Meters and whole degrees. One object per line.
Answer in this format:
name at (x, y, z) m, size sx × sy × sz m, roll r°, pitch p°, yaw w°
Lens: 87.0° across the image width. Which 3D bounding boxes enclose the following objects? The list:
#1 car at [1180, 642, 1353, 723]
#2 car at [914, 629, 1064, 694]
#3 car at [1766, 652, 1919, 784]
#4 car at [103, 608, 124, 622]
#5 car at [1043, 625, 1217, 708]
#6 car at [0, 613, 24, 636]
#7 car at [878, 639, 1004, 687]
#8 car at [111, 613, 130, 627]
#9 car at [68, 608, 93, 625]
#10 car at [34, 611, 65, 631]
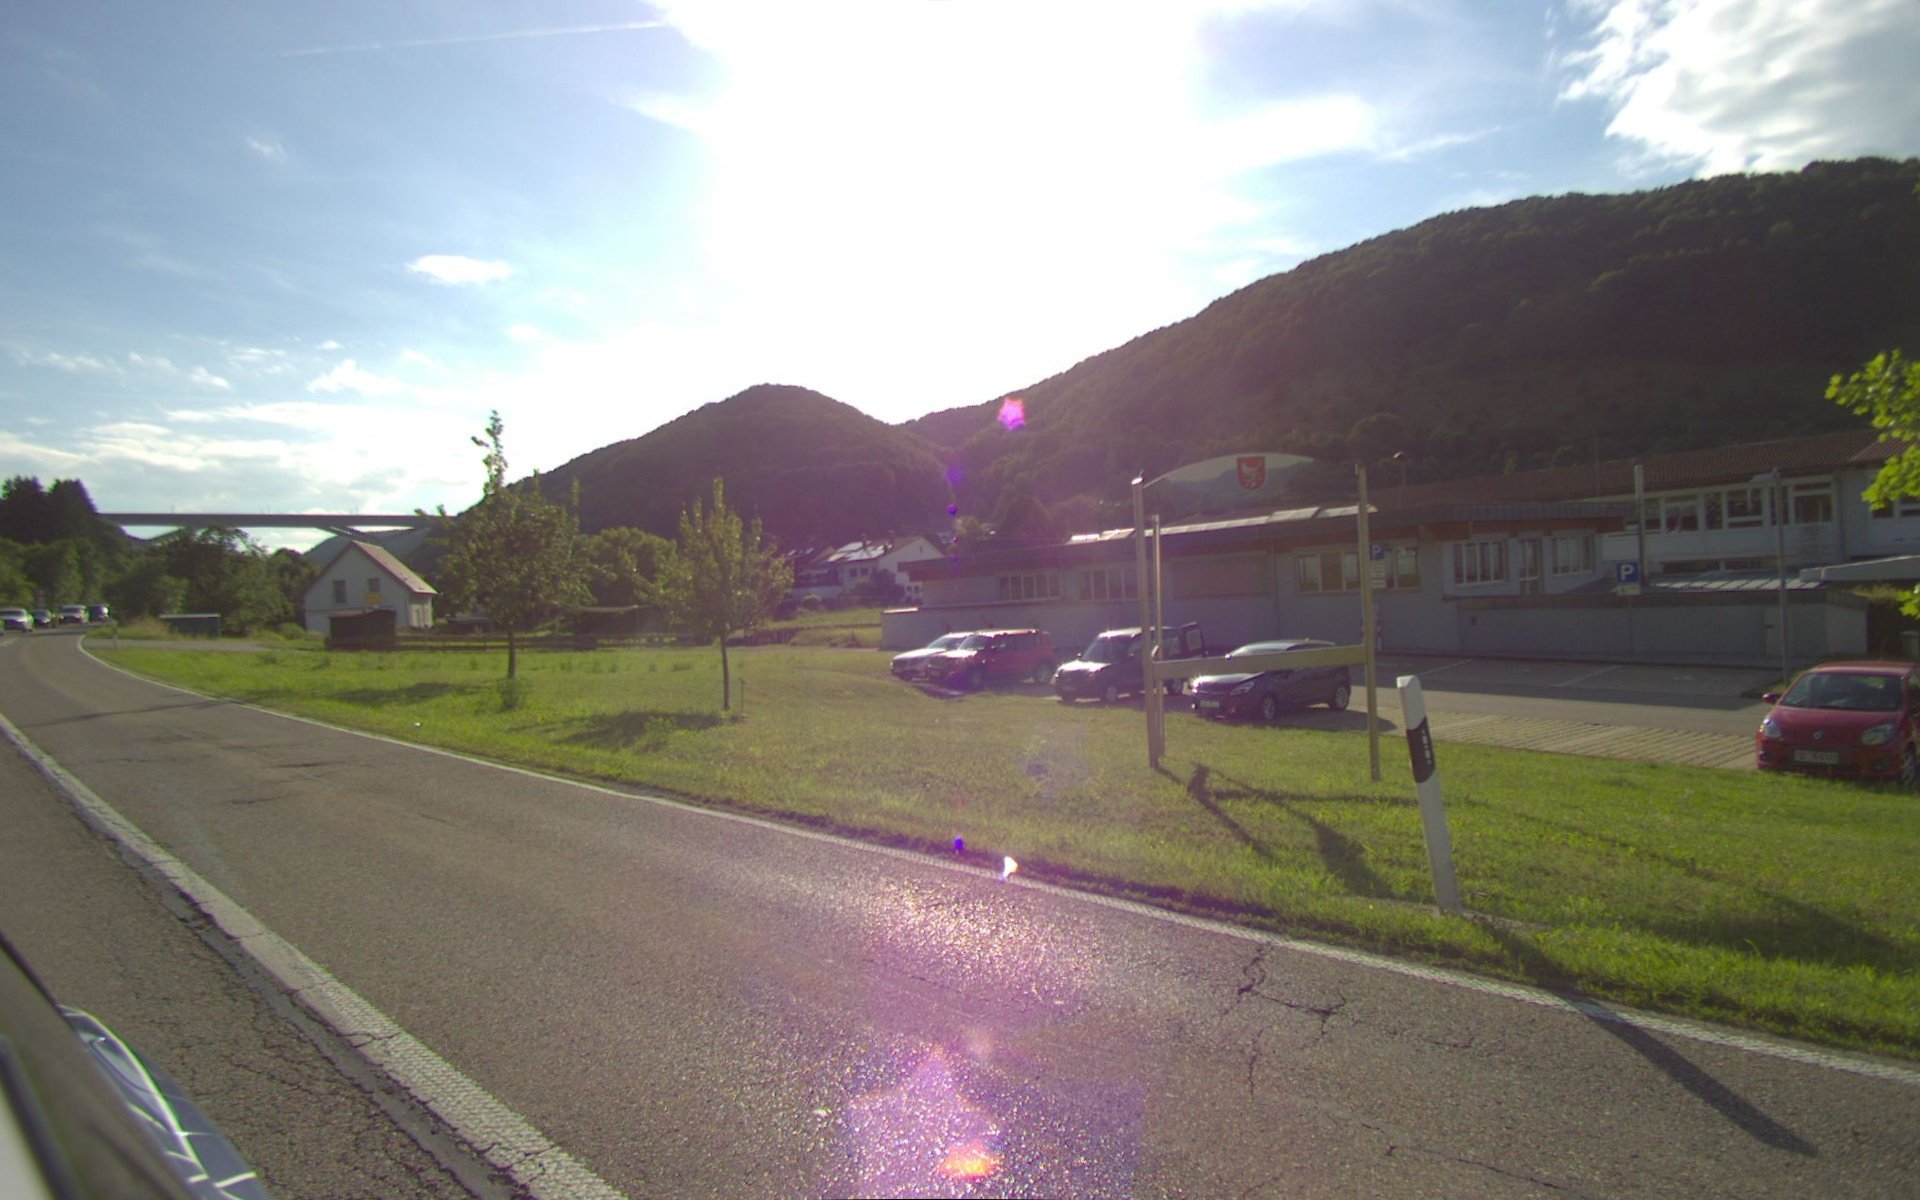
car at (6.740, 1.731, 22.088) m, size 3.957 × 1.463 × 1.687 m, roll -1°, pitch -2°, yaw -40°
car at (0.919, 1.813, 30.742) m, size 4.263 × 1.682 × 1.853 m, roll -1°, pitch 0°, yaw -34°
car at (12.878, 1.549, 14.209) m, size 3.673 × 1.408 × 1.619 m, roll -1°, pitch 0°, yaw -38°
car at (-90.137, 1.573, 107.753) m, size 1.605 × 1.490 × 3.686 m, roll -1°, pitch 0°, yaw -39°
car at (4.552, 1.661, 26.616) m, size 4.929 × 1.807 × 1.687 m, roll -1°, pitch 0°, yaw -40°
car at (-64.379, 1.617, 68.288) m, size 3.681 × 1.490 × 1.608 m, roll 0°, pitch 0°, yaw 44°
car at (-0.599, 2.033, 33.398) m, size 3.835 × 1.379 × 1.857 m, roll 0°, pitch 0°, yaw -37°
car at (-97.394, 2.279, 117.408) m, size 1.605 × 1.490 × 3.686 m, roll -1°, pitch 0°, yaw -39°
car at (-82.437, 1.538, 94.871) m, size 1.607 × 1.490 × 3.683 m, roll -1°, pitch 0°, yaw -43°
car at (-72.966, 1.690, 81.105) m, size 1.605 × 1.490 × 3.686 m, roll -1°, pitch 0°, yaw -39°
